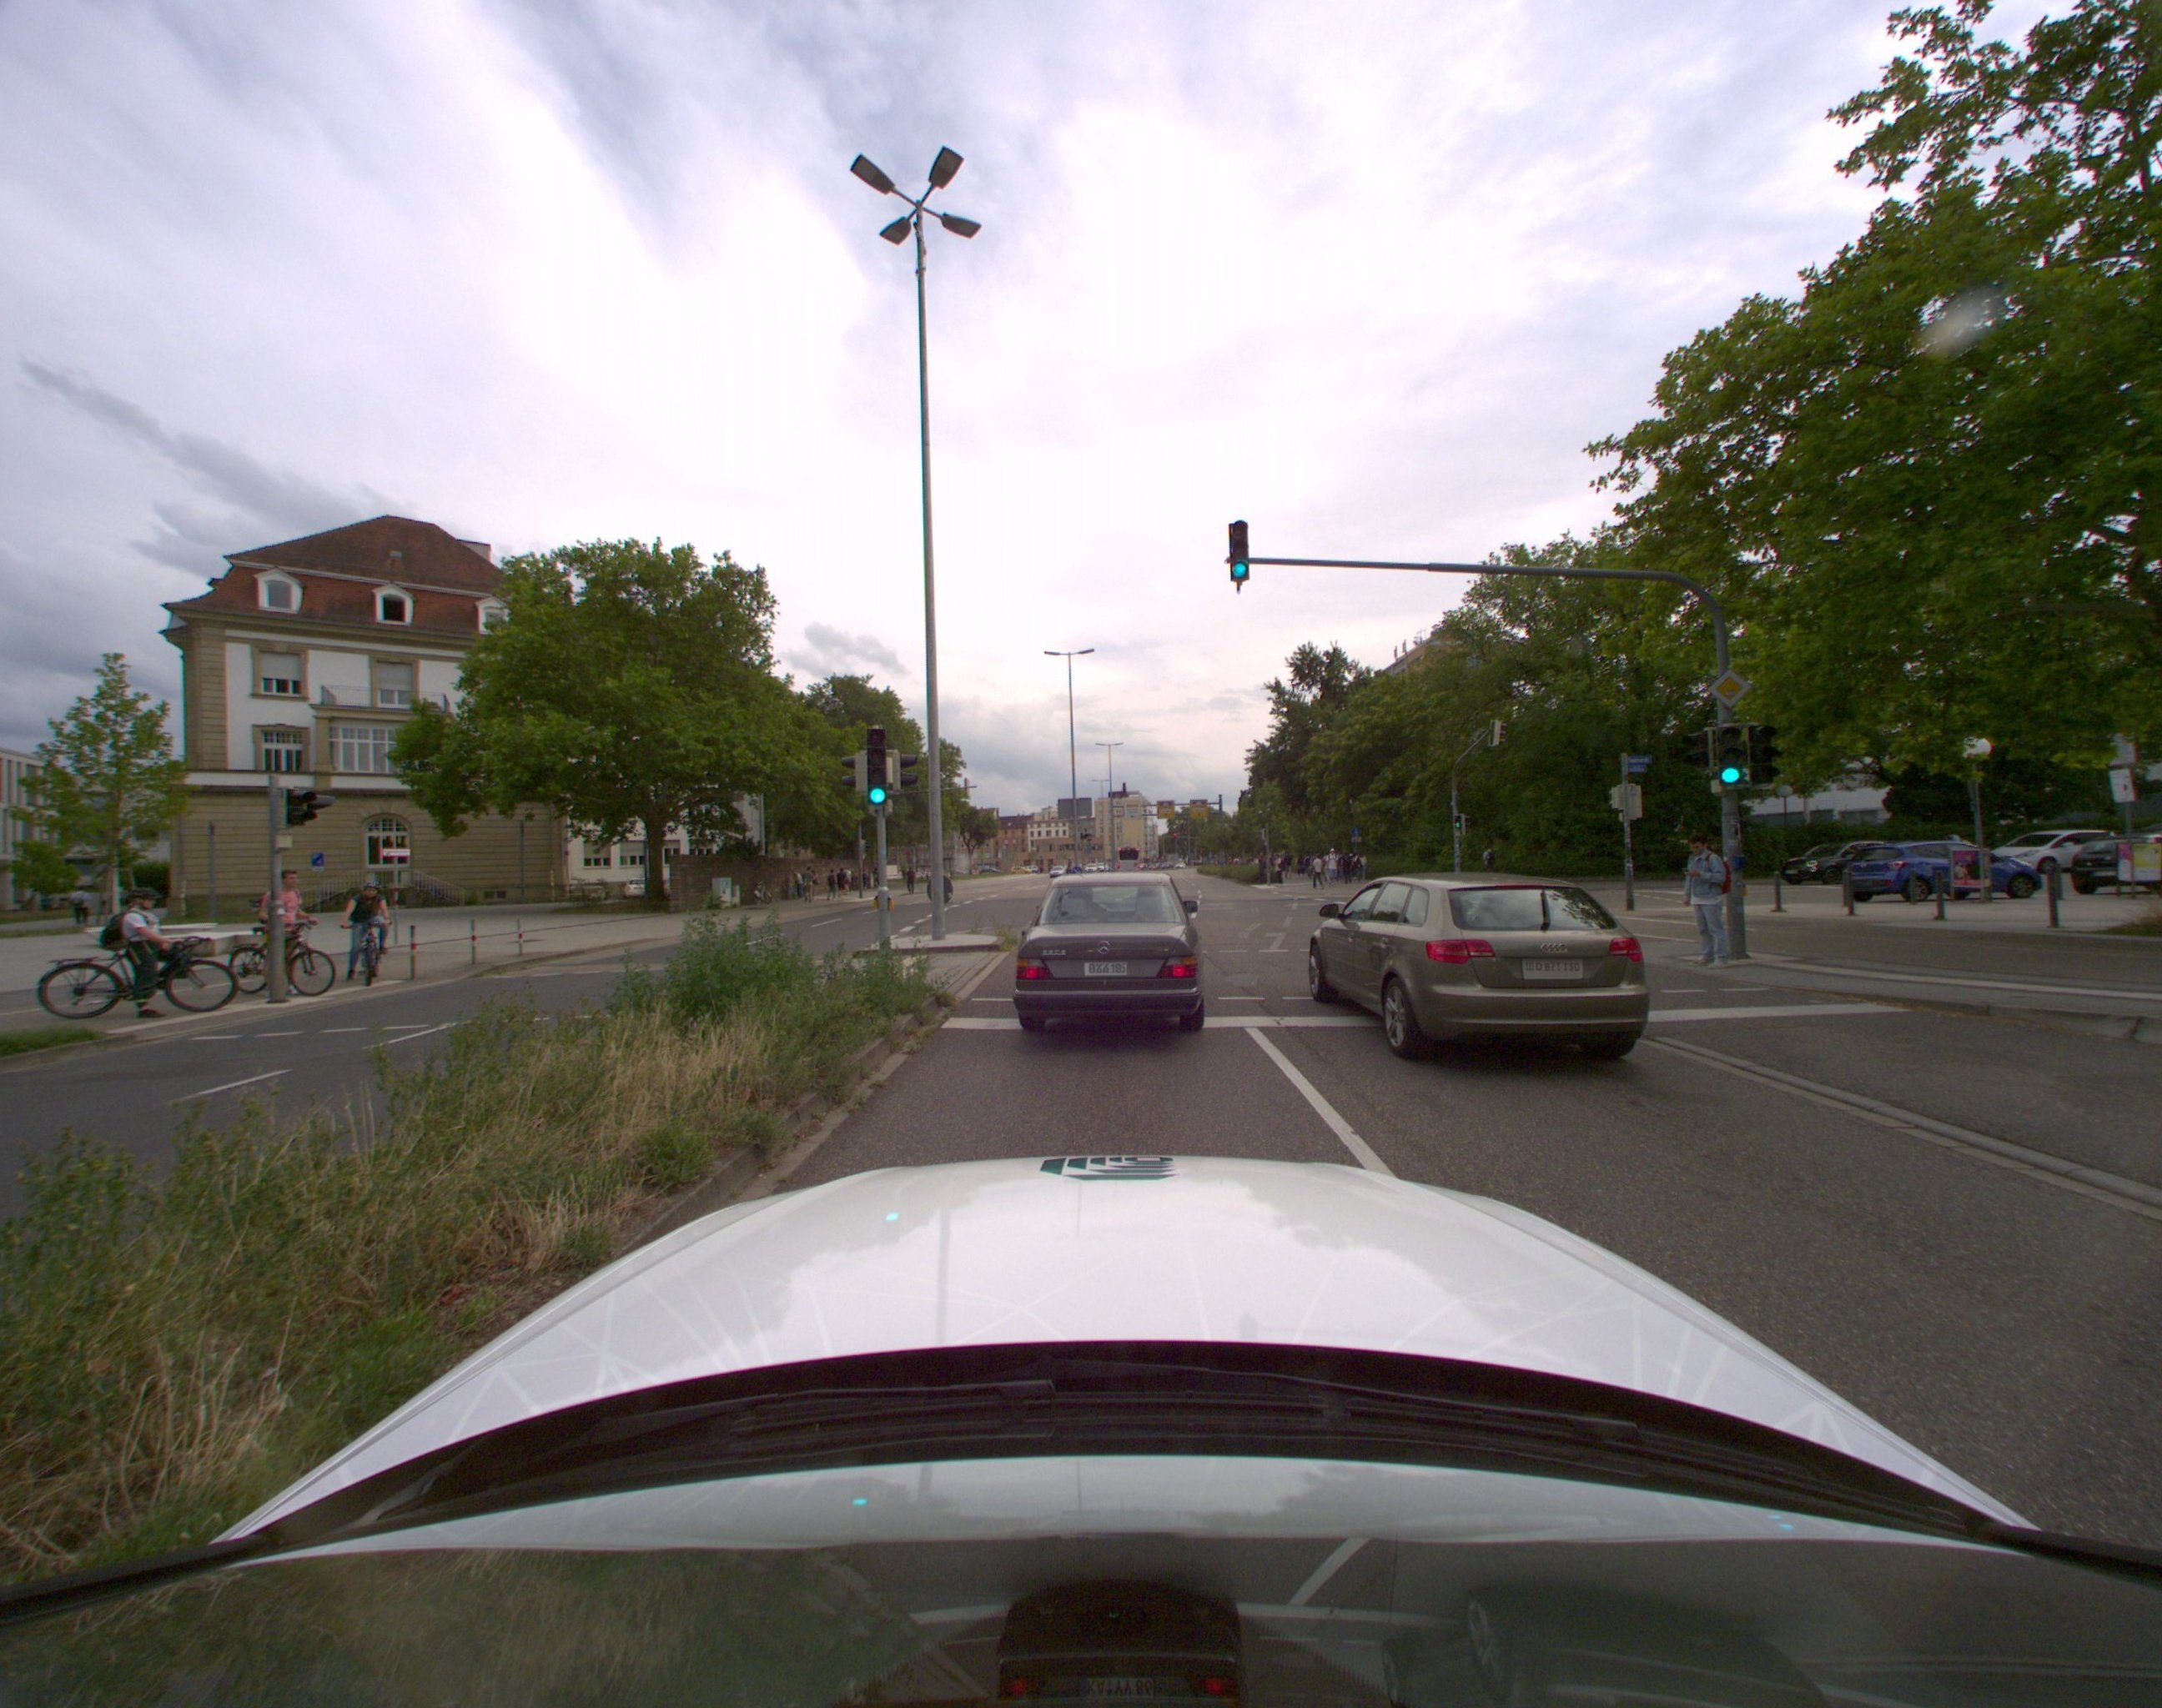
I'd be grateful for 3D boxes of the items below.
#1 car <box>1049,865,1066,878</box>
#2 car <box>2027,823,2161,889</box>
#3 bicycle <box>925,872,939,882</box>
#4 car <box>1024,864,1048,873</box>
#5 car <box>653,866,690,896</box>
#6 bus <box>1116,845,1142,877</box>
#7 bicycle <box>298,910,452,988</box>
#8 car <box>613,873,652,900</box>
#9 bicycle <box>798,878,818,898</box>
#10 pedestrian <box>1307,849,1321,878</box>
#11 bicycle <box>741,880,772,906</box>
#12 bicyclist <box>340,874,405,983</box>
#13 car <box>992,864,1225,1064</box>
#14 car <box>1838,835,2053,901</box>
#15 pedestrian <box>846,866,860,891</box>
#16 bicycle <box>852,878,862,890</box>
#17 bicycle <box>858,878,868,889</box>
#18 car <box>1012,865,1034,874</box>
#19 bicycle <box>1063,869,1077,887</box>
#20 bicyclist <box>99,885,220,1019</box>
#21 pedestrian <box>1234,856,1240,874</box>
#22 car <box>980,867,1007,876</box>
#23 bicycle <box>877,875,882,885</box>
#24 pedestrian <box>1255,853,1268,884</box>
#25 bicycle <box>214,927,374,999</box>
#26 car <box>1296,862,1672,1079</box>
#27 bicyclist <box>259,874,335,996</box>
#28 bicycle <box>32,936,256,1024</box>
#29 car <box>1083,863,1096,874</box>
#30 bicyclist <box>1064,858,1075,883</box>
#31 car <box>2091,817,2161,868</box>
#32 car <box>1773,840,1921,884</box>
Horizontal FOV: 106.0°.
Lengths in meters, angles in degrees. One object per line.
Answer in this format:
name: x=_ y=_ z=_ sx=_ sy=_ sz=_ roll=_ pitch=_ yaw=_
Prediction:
car: x=-3.010 y=2.217 z=103.248 sx=1.754 sy=1.489 sz=4.548 roll=-2 pitch=-1 yaw=3
car: x=26.535 y=0.037 z=20.368 sx=3.670 sy=1.567 sz=1.675 roll=-2 pitch=-2 yaw=1
bicycle: x=-15.411 y=2.348 z=84.241 sx=0.467 sy=0.919 sz=2.347 roll=-2 pitch=-1 yaw=13
car: x=-8.333 y=2.716 z=151.685 sx=4.160 sy=1.649 sz=1.639 roll=-2 pitch=-1 yaw=-14
car: x=-28.817 y=1.897 z=57.249 sx=1.794 sy=2.014 sz=3.957 roll=-1 pitch=-1 yaw=-35
bus: x=5.504 y=0.814 z=93.416 sx=2.819 sy=3.390 sz=8.190 roll=-2 pitch=-1 yaw=3
bicycle: x=-11.975 y=1.589 z=13.874 sx=1.891 sy=1.170 sz=0.604 roll=-2 pitch=-1 yaw=-13
car: x=-31.103 y=2.211 z=56.444 sx=1.919 sy=1.751 sz=3.956 roll=-1 pitch=-1 yaw=-35
bicycle: x=-15.874 y=1.969 z=47.364 sx=0.547 sy=1.058 sz=1.979 roll=1 pitch=-1 yaw=-1
pedestrian: x=14.952 y=0.615 z=52.293 sx=0.653 sy=1.821 sz=0.813 roll=-2 pitch=-1 yaw=5
bicycle: x=-15.519 y=1.842 z=38.991 sx=0.575 sy=1.126 sz=2.165 roll=1 pitch=-1 yaw=1
bicyclist: x=-12.068 y=1.247 z=13.888 sx=0.600 sy=1.807 sz=0.559 roll=0 pitch=-1 yaw=-12
car: x=0.273 y=0.873 z=8.382 sx=1.755 sy=1.489 sz=4.172 roll=-2 pitch=-1 yaw=2
car: x=21.646 y=0.352 z=20.502 sx=3.558 sy=1.492 sz=1.675 roll=-2 pitch=-2 yaw=1
pedestrian: x=-15.342 y=1.625 z=54.846 sx=0.762 sy=1.671 sz=0.917 roll=-1 pitch=-1 yaw=-23
bicycle: x=-16.827 y=2.243 z=61.131 sx=0.440 sy=0.797 sz=1.618 roll=1 pitch=0 yaw=-4
bicycle: x=-16.974 y=2.311 z=63.389 sx=0.440 sy=0.797 sz=1.618 roll=1 pitch=0 yaw=-4
car: x=-10.476 y=2.824 z=146.622 sx=3.844 sy=1.517 sz=1.660 roll=-1 pitch=-1 yaw=0
bicycle: x=-0.697 y=1.494 z=51.506 sx=0.570 sy=1.055 sz=1.931 roll=-2 pitch=-1 yaw=9
bicyclist: x=-12.072 y=1.254 z=10.698 sx=0.727 sy=1.673 sz=0.721 roll=0 pitch=-1 yaw=-12
pedestrian: x=18.174 y=1.270 z=94.945 sx=0.611 sy=2.014 sz=0.598 roll=-1 pitch=-1 yaw=4
car: x=-15.625 y=3.117 z=146.287 sx=4.654 sy=1.476 sz=1.660 roll=0 pitch=-3 yaw=0
bicycle: x=-18.236 y=2.351 z=73.688 sx=0.441 sy=0.827 sz=1.614 roll=1 pitch=-2 yaw=-12
pedestrian: x=10.409 y=0.834 z=46.954 sx=0.599 sy=1.735 sz=0.655 roll=-2 pitch=-1 yaw=3
bicycle: x=-11.990 y=1.642 z=12.451 sx=1.688 sy=0.989 sz=0.569 roll=0 pitch=-1 yaw=-12
car: x=3.287 y=0.829 z=7.527 sx=1.717 sy=1.457 sz=3.738 roll=-2 pitch=-1 yaw=3
bicyclist: x=-11.984 y=1.218 z=12.462 sx=0.600 sy=1.807 sz=0.559 roll=0 pitch=-1 yaw=-12
bicycle: x=-12.193 y=1.623 z=10.663 sx=1.818 sy=0.989 sz=0.725 roll=0 pitch=-1 yaw=-12
car: x=1.289 y=2.152 z=118.273 sx=1.795 sy=1.489 sz=4.289 roll=-2 pitch=-1 yaw=1
bicyclist: x=-0.714 y=1.054 z=51.429 sx=0.569 sy=1.574 sz=0.701 roll=-2 pitch=-1 yaw=9
car: x=38.331 y=-0.424 z=28.268 sx=4.264 sy=1.693 sz=1.685 roll=-2 pitch=-2 yaw=2
car: x=27.149 y=0.298 z=28.953 sx=3.557 sy=1.442 sz=1.685 roll=-2 pitch=-2 yaw=2
